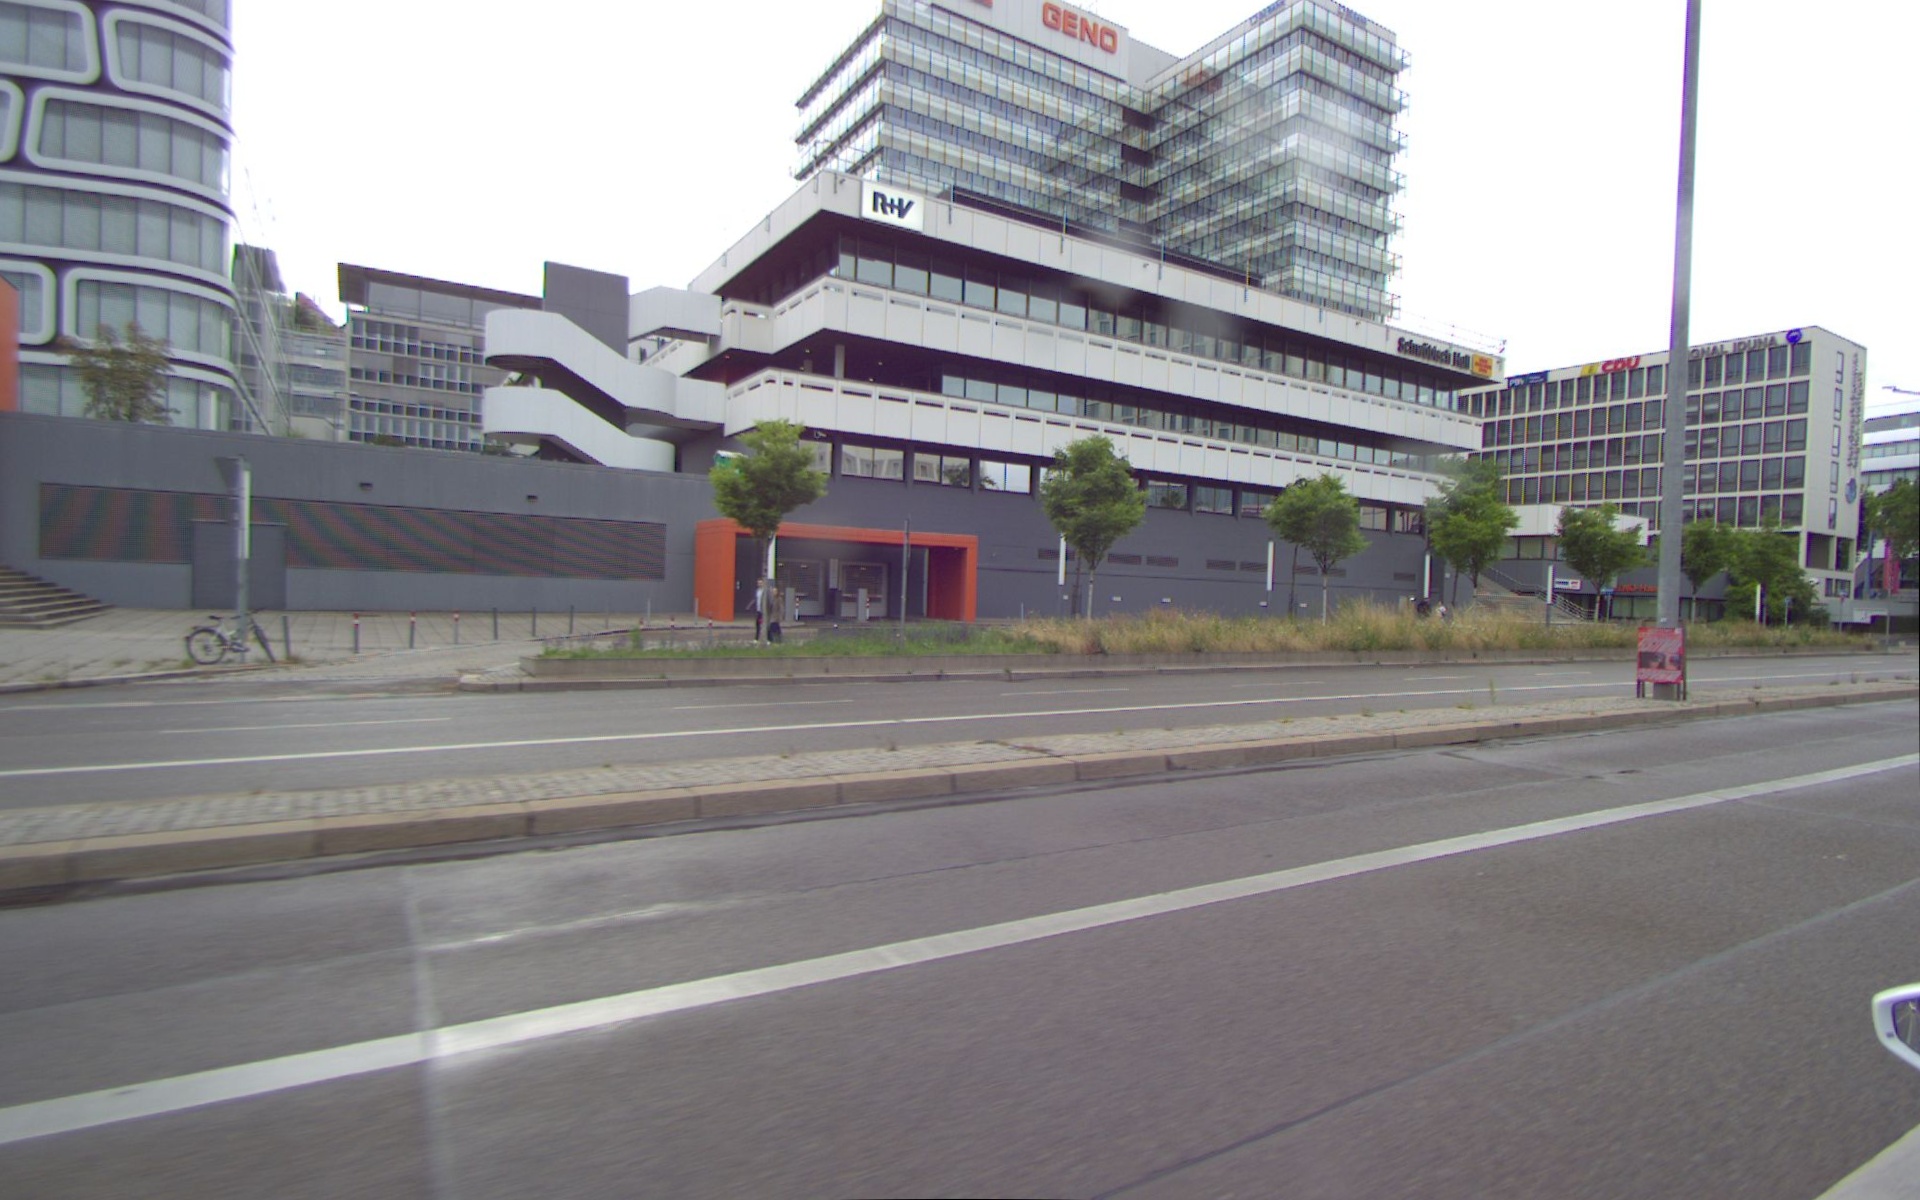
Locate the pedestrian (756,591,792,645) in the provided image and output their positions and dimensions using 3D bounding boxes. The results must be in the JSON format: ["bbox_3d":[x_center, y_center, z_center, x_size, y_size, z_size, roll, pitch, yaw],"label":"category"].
[{"bbox_3d":[-5.157,0.489,27.830,0.789,1.465,0.615,2,-1,-30],"label":"pedestrian"}]

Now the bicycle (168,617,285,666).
[{"bbox_3d":[-13.664,0.761,18.763,0.598,0.869,1.656,1,-1,25],"label":"bicycle"}]

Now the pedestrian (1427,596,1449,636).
[{"bbox_3d":[22.029,0.733,46.265,0.621,1.832,0.626,2,-1,-31],"label":"pedestrian"}]

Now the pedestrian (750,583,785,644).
[{"bbox_3d":[-5.461,0.382,28.532,0.789,1.680,0.615,2,-1,-30],"label":"pedestrian"}]

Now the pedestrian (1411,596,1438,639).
[{"bbox_3d":[20.003,0.742,43.266,0.621,1.832,0.780,2,-1,-31],"label":"pedestrian"}]
